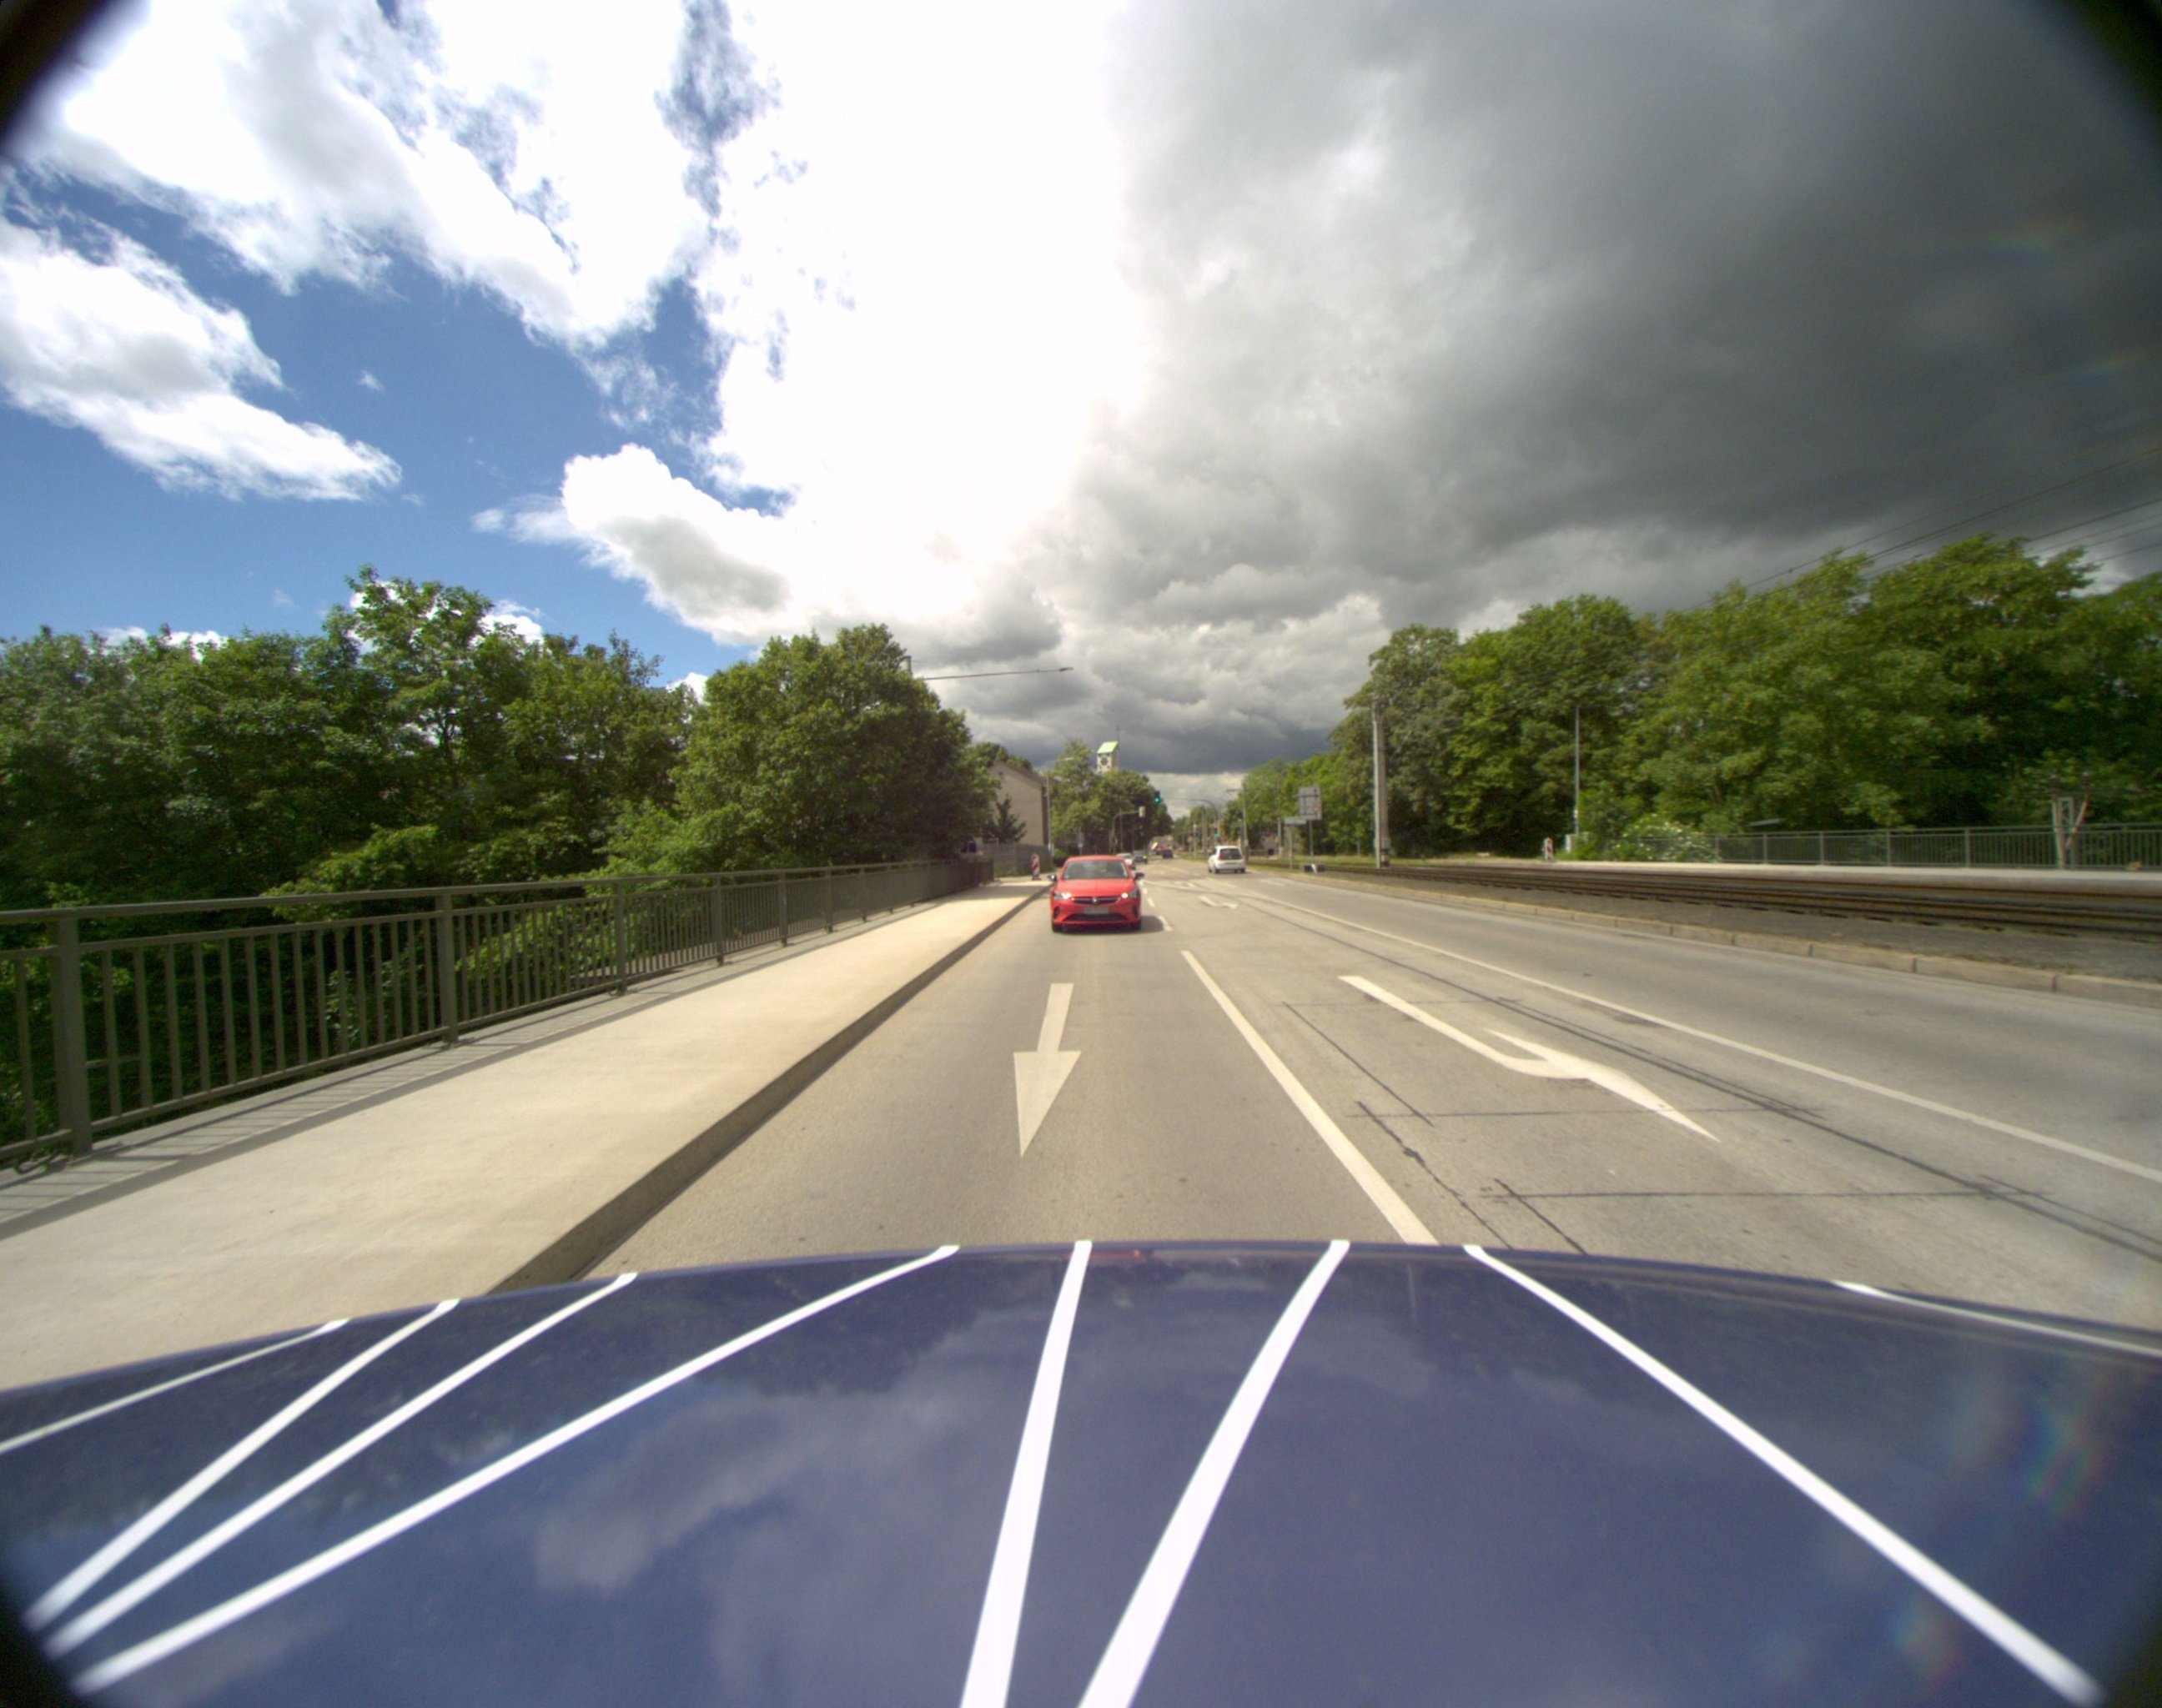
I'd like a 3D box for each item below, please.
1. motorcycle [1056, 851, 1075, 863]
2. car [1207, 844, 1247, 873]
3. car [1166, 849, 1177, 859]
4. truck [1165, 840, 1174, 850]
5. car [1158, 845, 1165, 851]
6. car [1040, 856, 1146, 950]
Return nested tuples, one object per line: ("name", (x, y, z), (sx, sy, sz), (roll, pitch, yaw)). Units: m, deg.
("motorcycle", (-1.846, 0.350, 90.817), (2.207, 1.275, 0.681), (-2, 1, 15))
("car", (8.196, 0.198, 42.993), (1.597, 1.518, 3.655), (-2, 1, 1))
("car", (15.870, -0.069, 132.897), (1.711, 1.666, 4.229), (-4, 0, 5))
("truck", (25.691, -2.713, 220.548), (2.095, 2.723, 5.098), (-4, 1, 4))
("car", (23.670, -1.807, 222.601), (1.584, 1.477, 3.809), (-4, 0, 10))
("car", (0.349, 0.816, 14.564), (1.665, 1.513, 3.788), (0, 0, 6))
